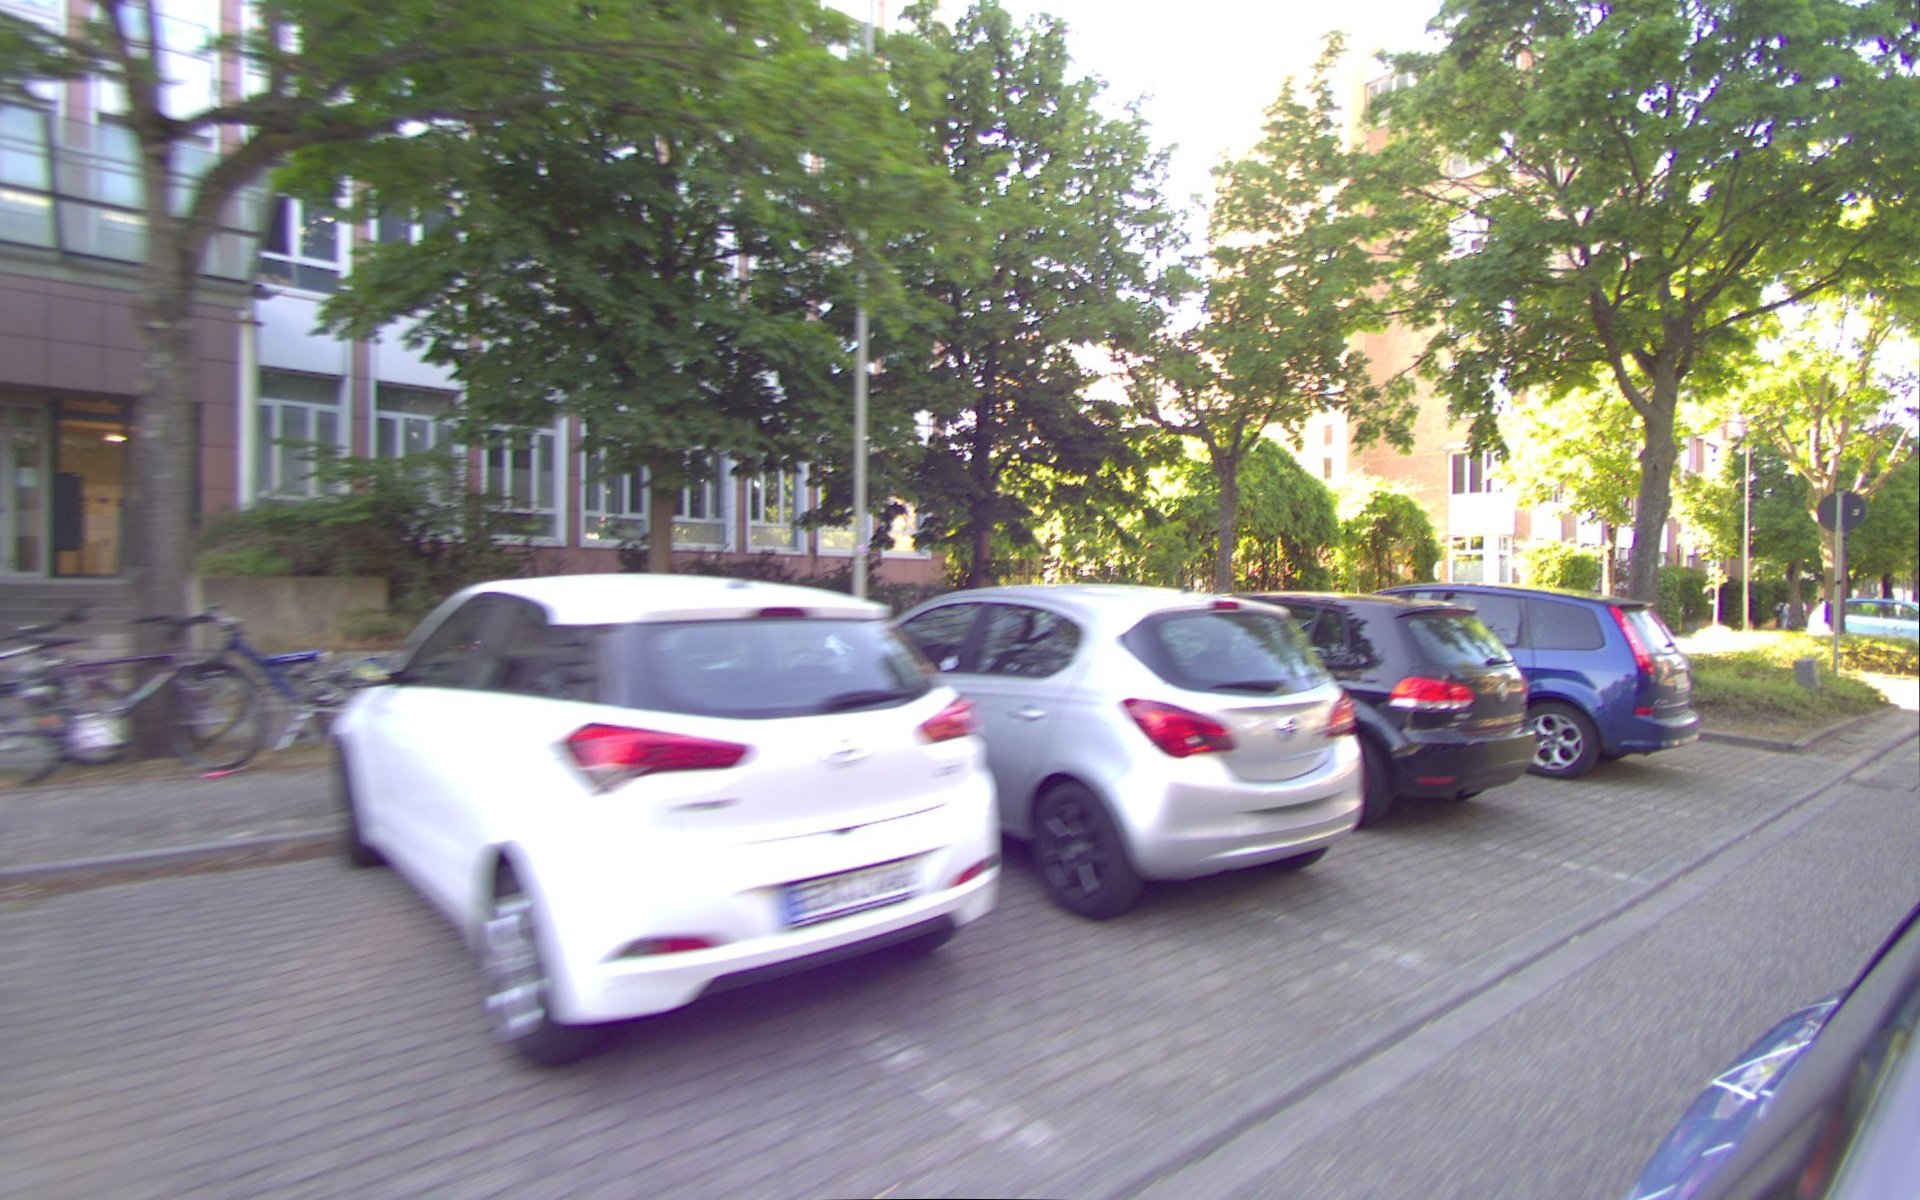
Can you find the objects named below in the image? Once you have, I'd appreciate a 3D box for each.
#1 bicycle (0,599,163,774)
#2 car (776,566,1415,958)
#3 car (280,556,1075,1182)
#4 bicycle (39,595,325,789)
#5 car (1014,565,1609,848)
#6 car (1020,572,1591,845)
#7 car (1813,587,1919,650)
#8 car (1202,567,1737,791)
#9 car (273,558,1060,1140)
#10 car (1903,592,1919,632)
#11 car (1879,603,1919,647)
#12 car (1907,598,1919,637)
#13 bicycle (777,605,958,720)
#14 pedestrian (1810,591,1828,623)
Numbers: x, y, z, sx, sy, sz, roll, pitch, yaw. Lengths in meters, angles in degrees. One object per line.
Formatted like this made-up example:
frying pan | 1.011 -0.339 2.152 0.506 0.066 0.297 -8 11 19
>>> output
bicycle | -6.204 0.540 6.416 0.378 1.092 1.762 1 0 38
car | 0.474 0.591 5.909 1.602 1.485 3.647 1 2 -36
car | -1.538 0.584 4.436 1.848 1.467 3.758 0 2 -43
bicycle | -5.124 0.534 6.824 0.374 1.091 1.783 1 1 8
car | 2.393 0.543 7.716 1.860 1.545 3.894 1 1 -37
car | 2.425 0.586 7.834 1.876 1.485 3.750 1 2 -39
car | 27.512 0.592 28.983 1.878 1.638 4.416 1 3 -40
car | 4.700 0.546 9.851 1.826 1.654 4.274 1 1 -42
car | -1.629 0.555 4.666 1.934 1.486 3.870 -2 3 -43
car | 41.027 0.532 40.826 4.352 1.618 1.908 1 0 44
car | 35.551 1.006 36.108 1.792 1.501 3.856 2 2 -40
car | 37.322 0.771 36.952 1.672 1.426 3.809 2 2 -40
bicycle | -0.900 0.597 10.226 1.849 1.060 0.380 1 2 -35
pedestrian | 41.154 0.329 48.473 0.602 1.540 0.585 1 0 44
